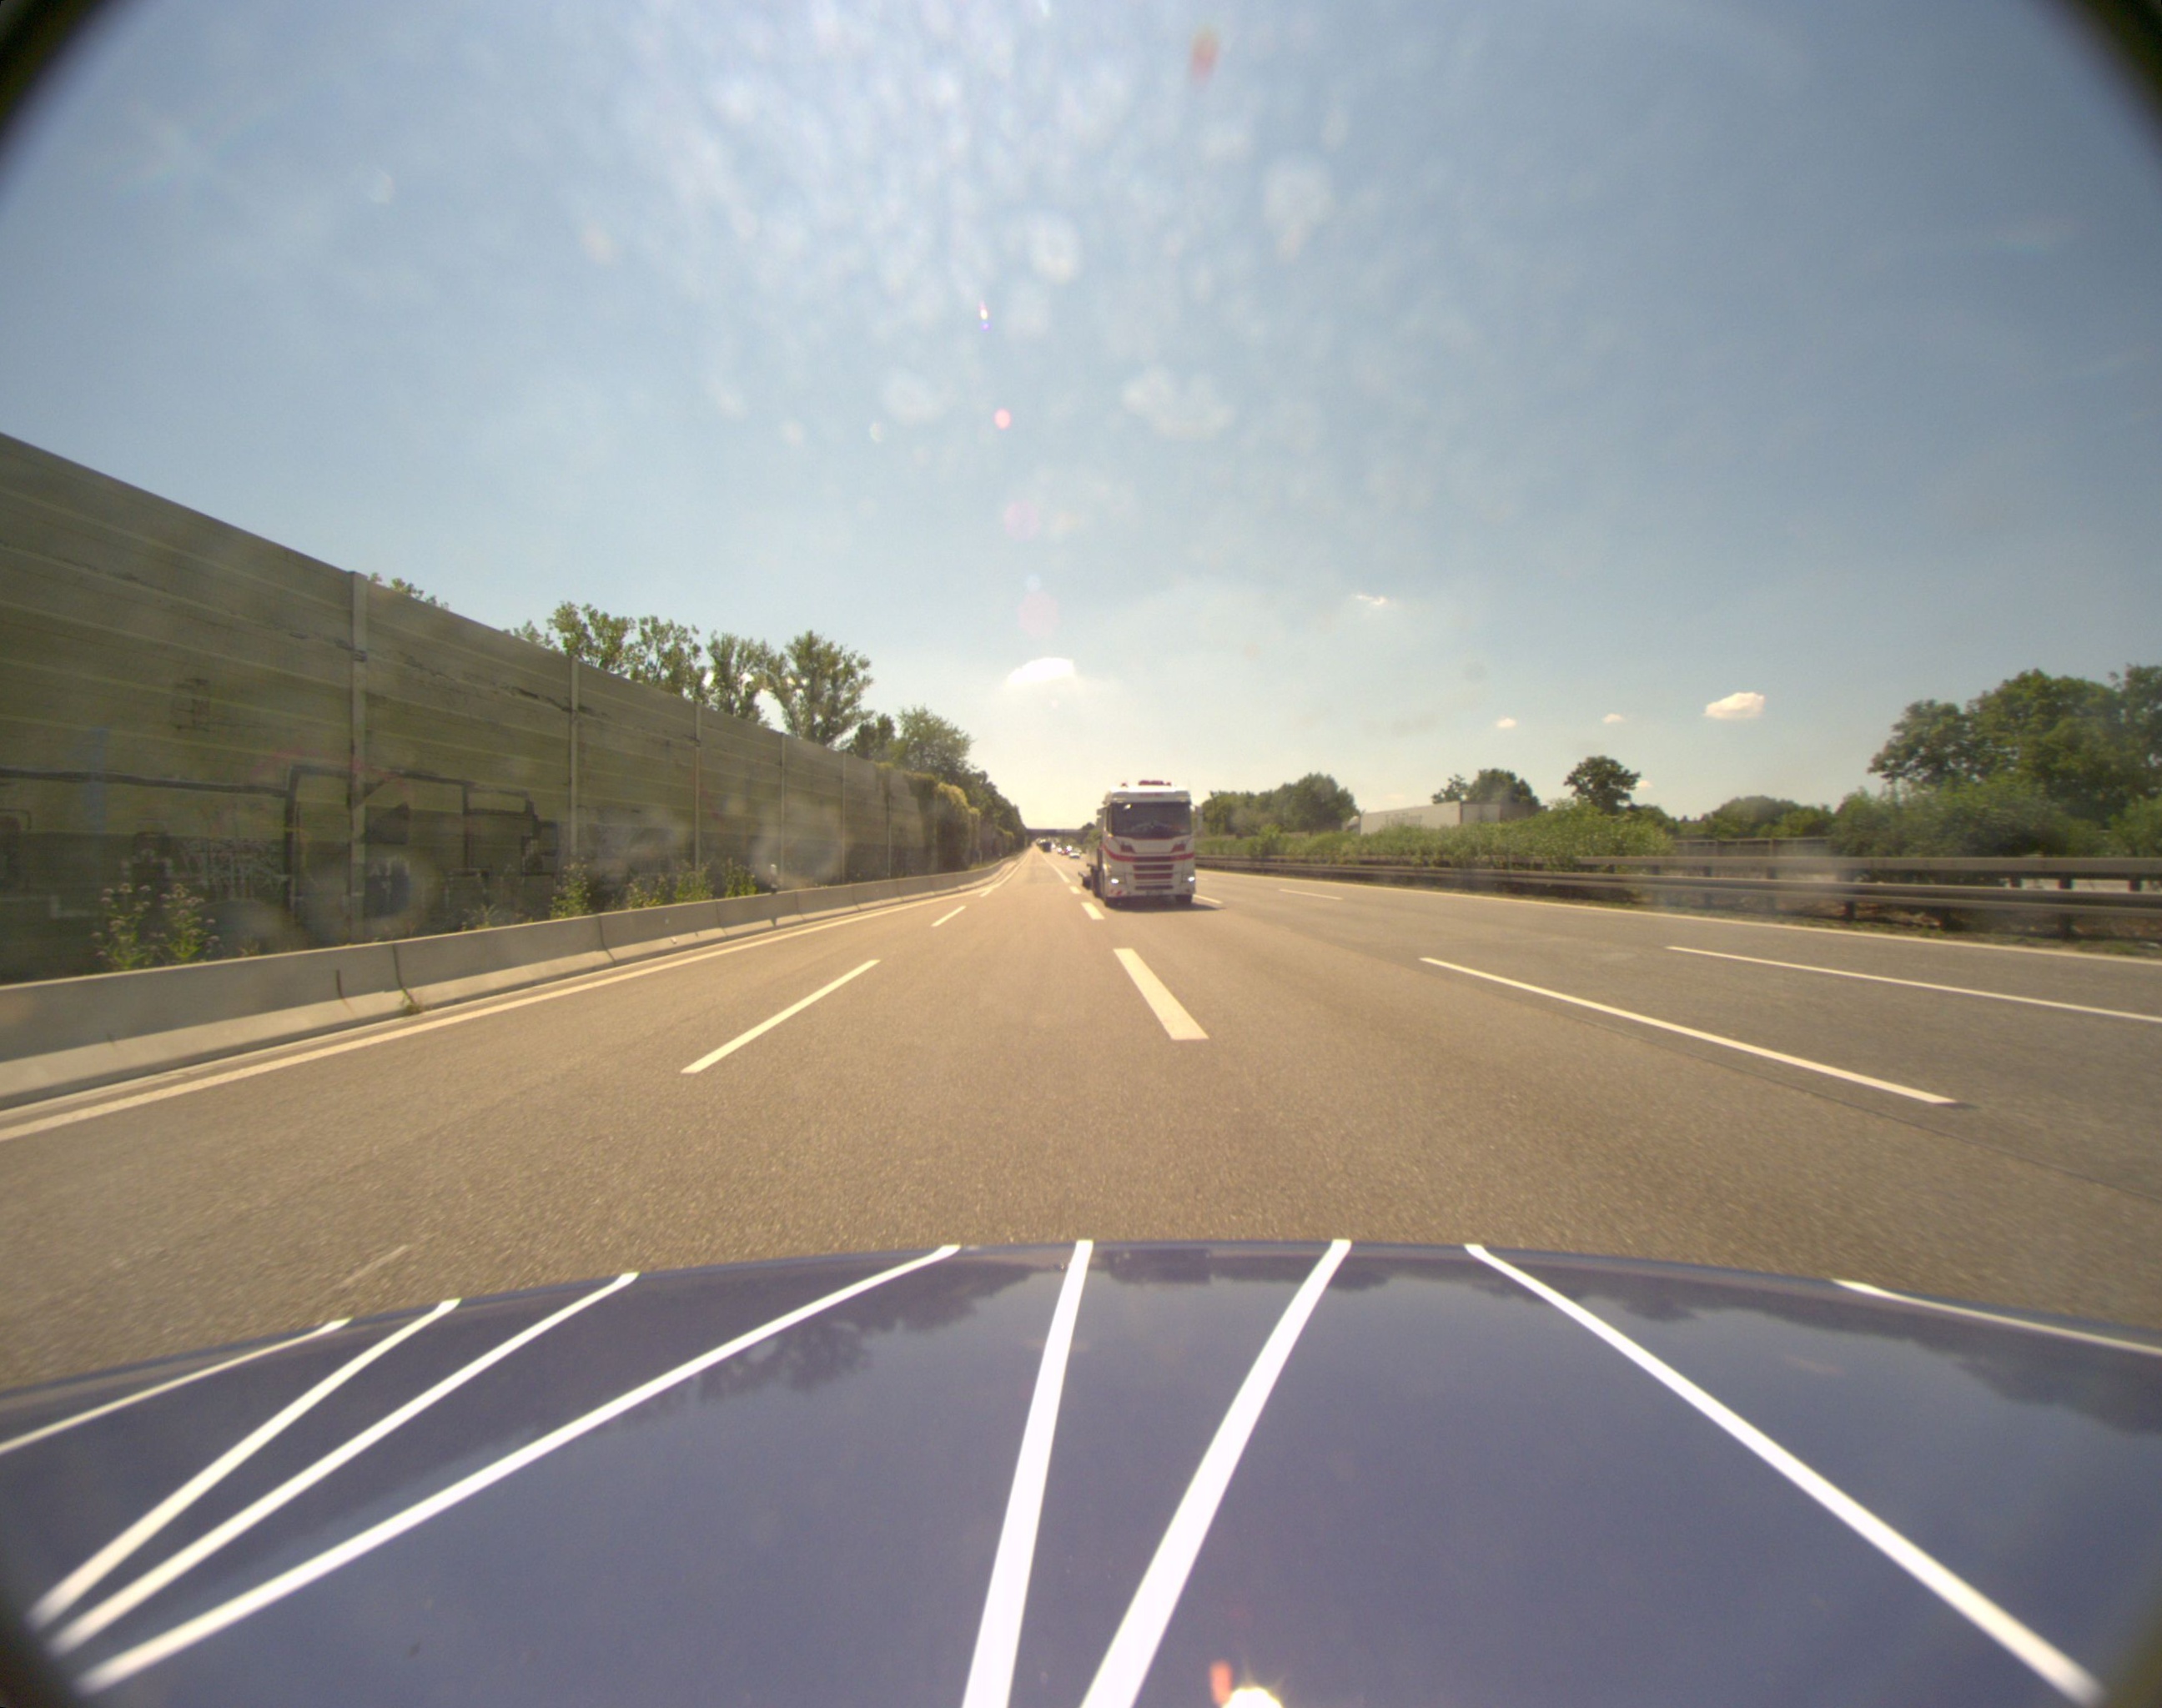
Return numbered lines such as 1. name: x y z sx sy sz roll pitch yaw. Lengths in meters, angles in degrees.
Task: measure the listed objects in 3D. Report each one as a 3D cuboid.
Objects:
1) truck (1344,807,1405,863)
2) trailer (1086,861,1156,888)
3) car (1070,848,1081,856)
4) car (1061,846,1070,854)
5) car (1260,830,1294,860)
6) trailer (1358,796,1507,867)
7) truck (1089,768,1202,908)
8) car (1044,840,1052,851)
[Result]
1. truck: 22.600 -1.433 58.739 2.612 4.132 4.746 -1 1 -3
2. trailer: 1.695 0.875 35.488 2.721 0.929 7.758 -2 0 -1
3. car: -1.042 -0.329 139.629 1.786 1.494 4.170 -1 0 -1
4. car: -3.724 -1.040 182.503 1.998 1.832 4.001 -2 -1 2
5. car: 18.700 -0.879 72.567 1.999 2.749 3.999 -1 1 -3
6. trailer: 23.078 -1.357 51.371 2.612 4.109 14.222 -1 0 -4
7. truck: 1.824 -0.470 26.237 2.721 3.780 10.669 -2 0 -1
8. car: -10.413 -2.581 237.947 2.116 3.283 6.443 -2 -1 -4
